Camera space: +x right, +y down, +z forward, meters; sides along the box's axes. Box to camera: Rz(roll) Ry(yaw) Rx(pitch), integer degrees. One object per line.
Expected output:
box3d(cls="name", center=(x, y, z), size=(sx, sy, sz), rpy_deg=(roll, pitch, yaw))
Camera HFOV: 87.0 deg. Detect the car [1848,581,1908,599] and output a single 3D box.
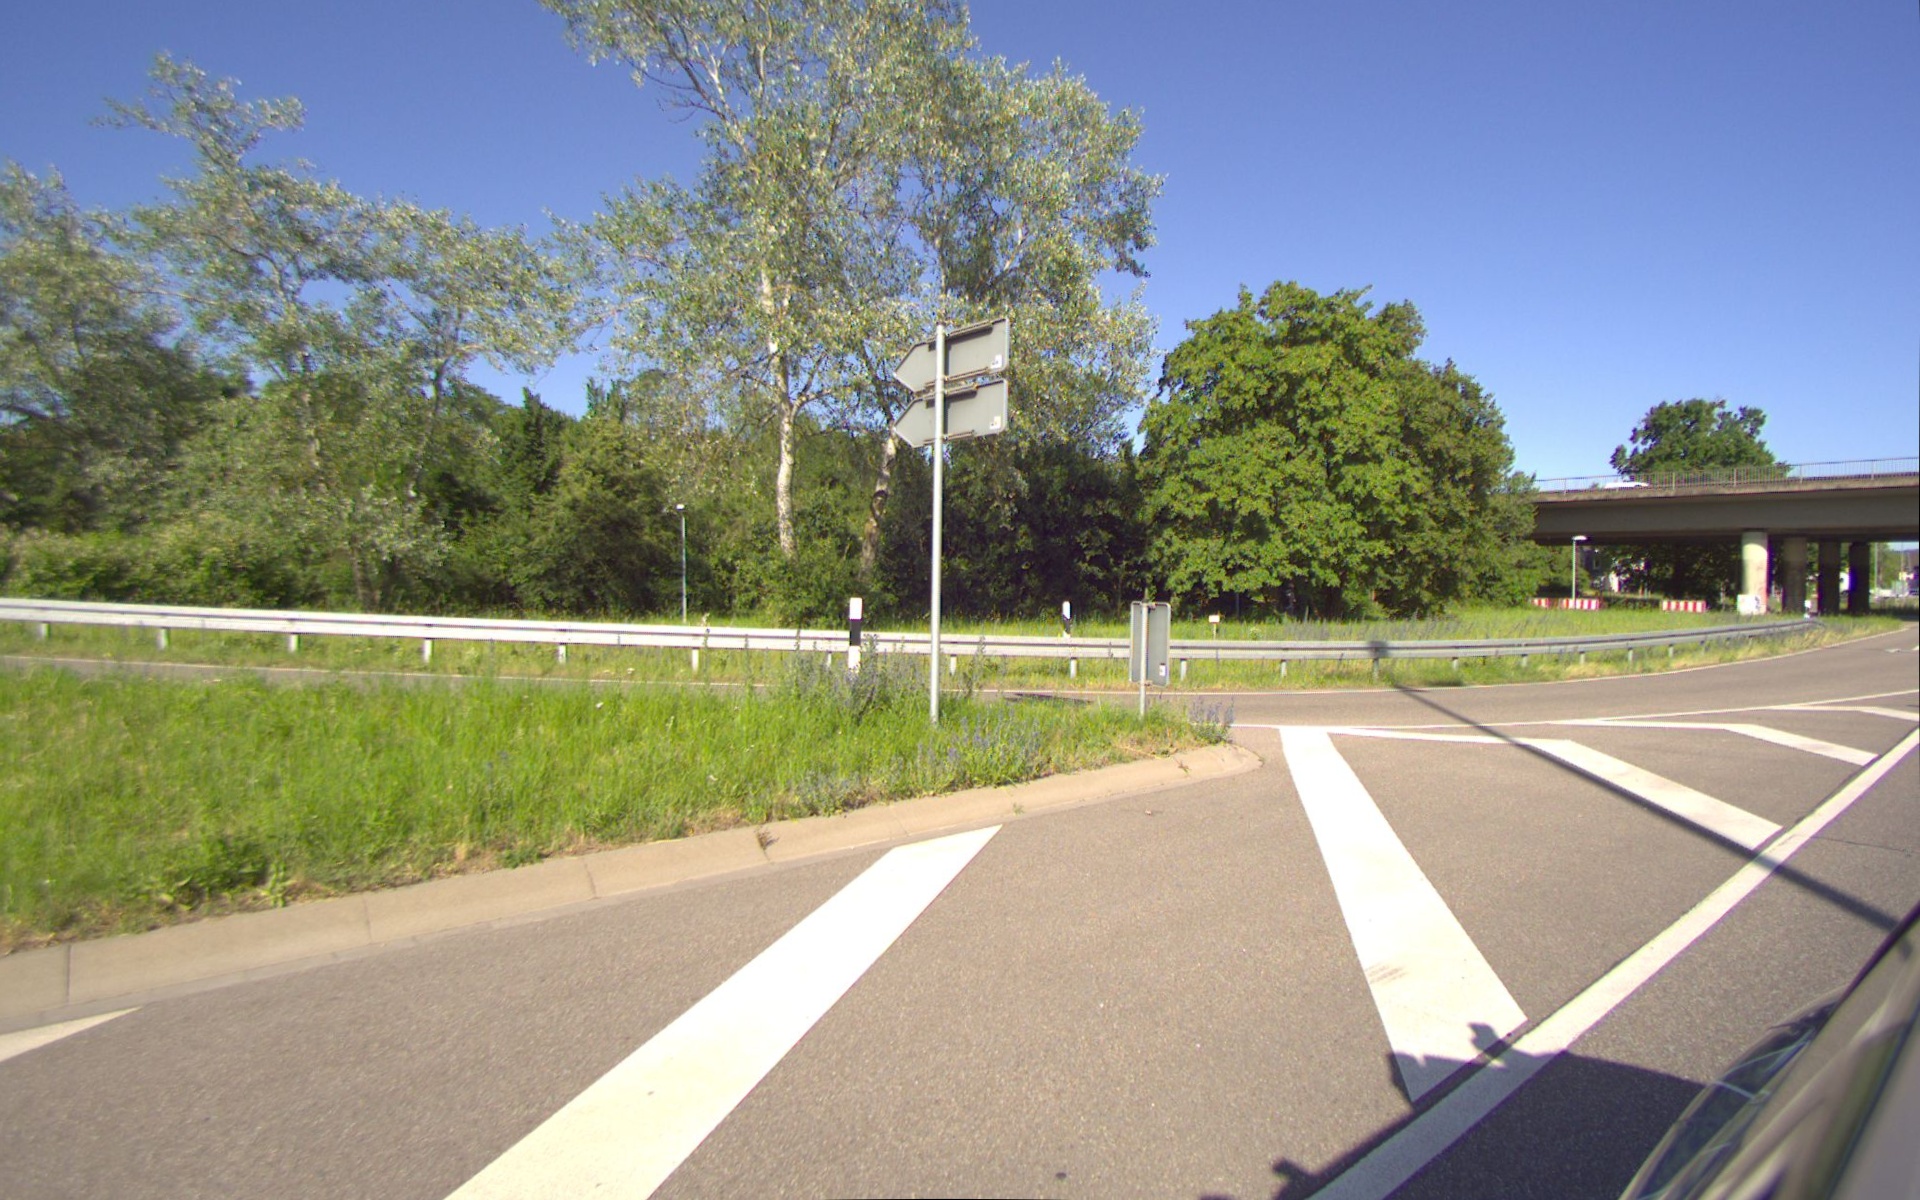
box3d(cls="car", center=(83.445, -0.921, 92.050), size=(1.794, 1.556, 4.041), rpy_deg=(0, 1, 2))
